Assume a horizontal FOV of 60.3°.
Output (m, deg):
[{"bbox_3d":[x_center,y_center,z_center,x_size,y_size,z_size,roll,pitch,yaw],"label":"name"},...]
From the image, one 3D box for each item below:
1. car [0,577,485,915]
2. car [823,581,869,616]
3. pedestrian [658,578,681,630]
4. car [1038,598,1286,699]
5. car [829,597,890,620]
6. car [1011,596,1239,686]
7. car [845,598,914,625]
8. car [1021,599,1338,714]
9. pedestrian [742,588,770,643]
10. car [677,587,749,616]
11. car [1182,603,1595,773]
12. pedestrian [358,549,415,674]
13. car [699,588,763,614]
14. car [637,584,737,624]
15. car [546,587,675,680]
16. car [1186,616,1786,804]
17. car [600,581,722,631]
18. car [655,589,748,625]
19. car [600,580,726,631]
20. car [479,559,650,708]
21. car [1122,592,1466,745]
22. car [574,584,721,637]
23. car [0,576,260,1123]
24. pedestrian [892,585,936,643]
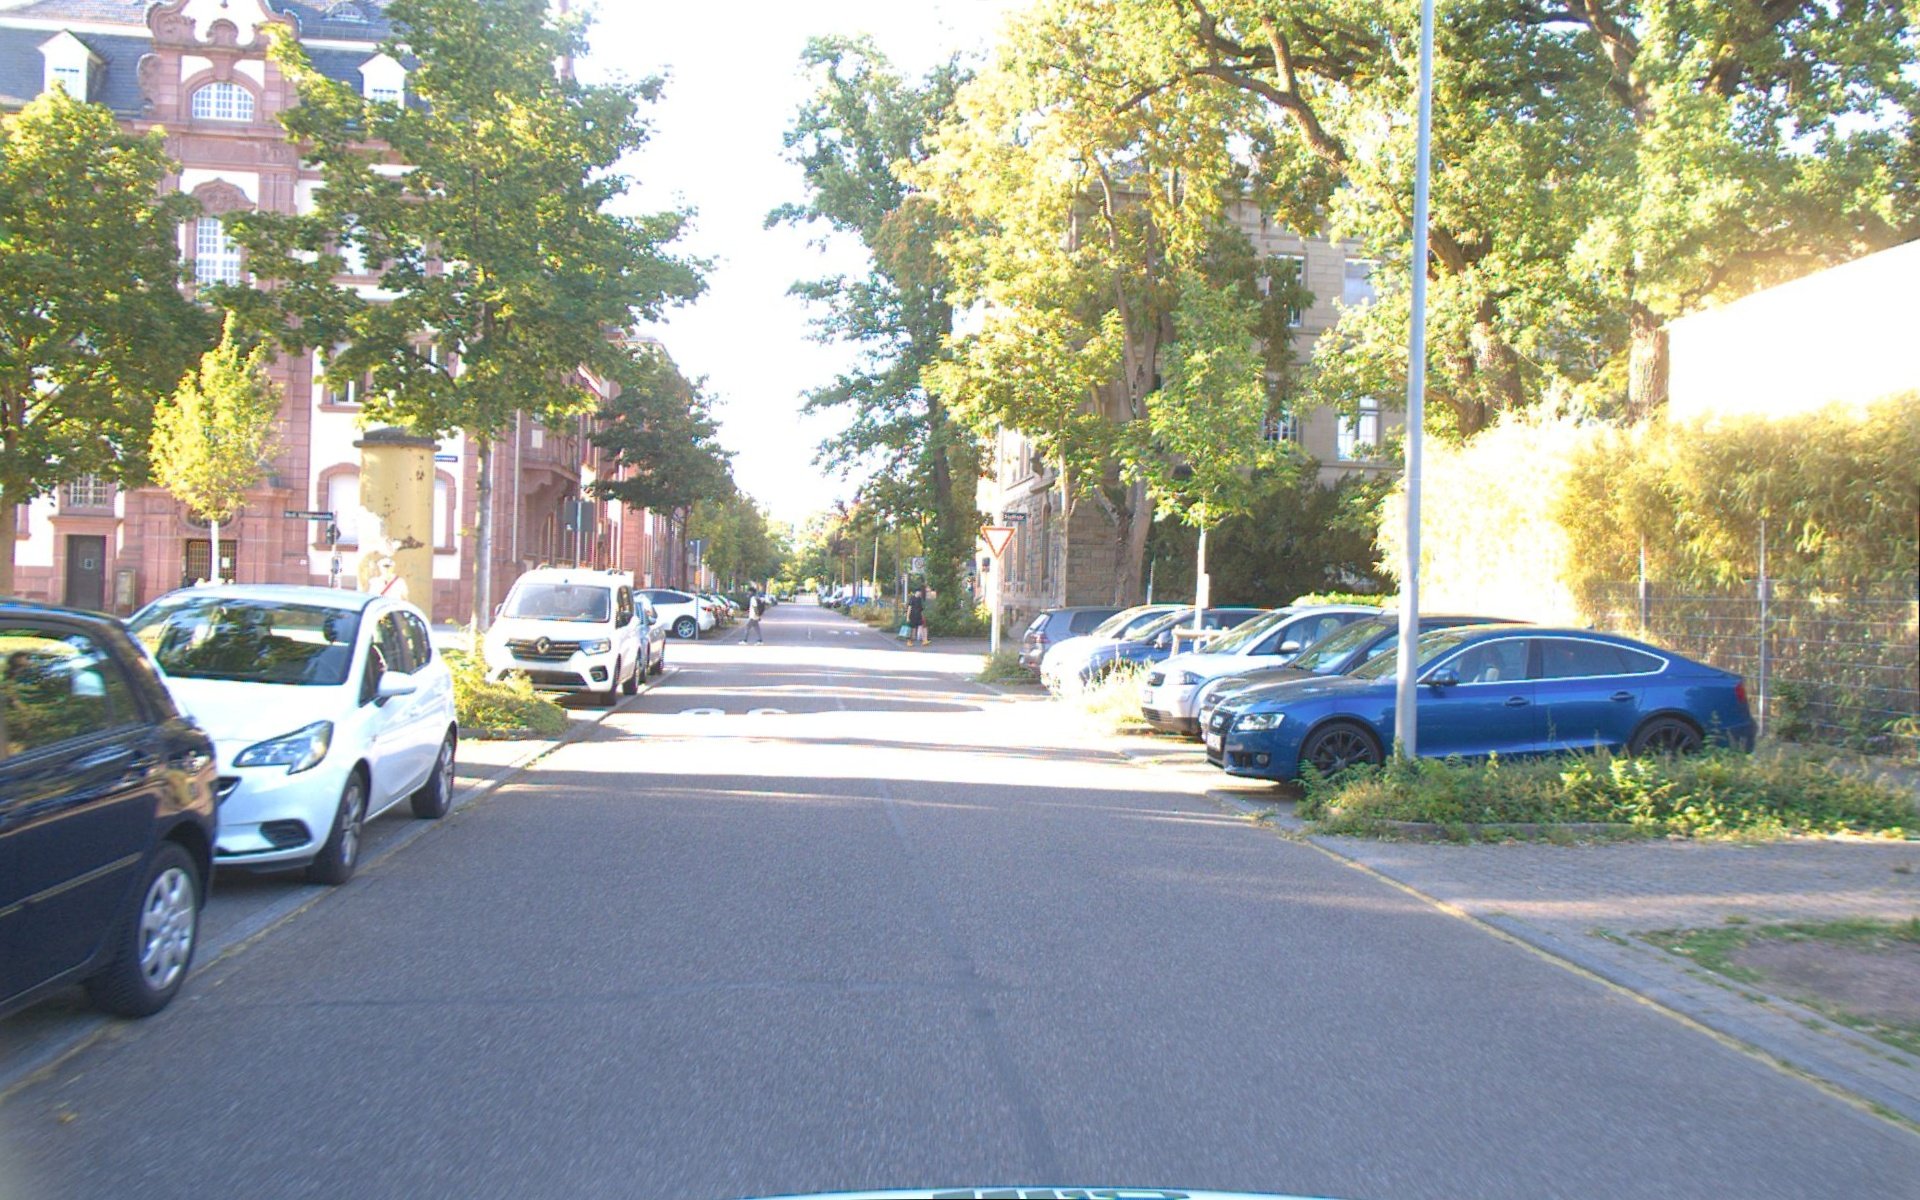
[{"bbox_3d":[-3.937,0.683,9.667,1.562,1.553,3.860,2,0,-6],"label":"car"},{"bbox_3d":[-12.569,-0.209,182.297,4.793,3.681,1.839,2,0,-7],"label":"car"},{"bbox_3d":[-11.340,0.163,64.541,0.771,1.996,0.718,2,-1,-14],"label":"pedestrian"},{"bbox_3d":[3.320,0.791,27.671,3.875,1.543,1.674,2,0,-3],"label":"car"},{"bbox_3d":[-7.726,0.659,126.485,4.497,1.636,1.839,2,0,-8],"label":"car"},{"bbox_3d":[2.967,0.767,30.219,3.876,1.543,1.872,1,-2,-5],"label":"car"},{"bbox_3d":[-5.318,0.771,109.627,4.398,1.636,1.839,2,0,-8],"label":"car"},{"bbox_3d":[3.279,0.836,25.101,4.407,1.576,1.887,2,0,-9],"label":"car"},{"bbox_3d":[-6.200,0.472,50.279,0.771,1.634,0.718,2,-1,-12],"label":"pedestrian"},{"bbox_3d":[-15.351,0.084,102.940,4.398,1.636,1.839,2,0,-8],"label":"car"},{"bbox_3d":[4.261,0.857,16.723,3.613,1.550,1.788,2,0,-9],"label":"car"},{"bbox_3d":[-8.545,0.172,24.655,0.588,1.815,0.944,2,0,-9],"label":"pedestrian"},{"bbox_3d":[-16.144,0.063,116.775,4.398,1.636,1.839,2,0,-8],"label":"car"},{"bbox_3d":[-12.461,0.185,75.610,4.398,1.636,1.839,2,0,-8],"label":"car"},{"bbox_3d":[-6.319,0.569,30.356,1.746,1.531,4.548,2,0,-5],"label":"car"},{"bbox_3d":[4.356,0.879,14.145,4.499,1.439,1.921,0,-1,-5],"label":"car"},{"bbox_3d":[-11.296,0.214,62.706,4.398,1.747,1.839,2,0,-8],"label":"car"},{"bbox_3d":[-12.696,0.347,81.468,4.398,1.636,1.839,2,0,-8],"label":"car"},{"bbox_3d":[-10.828,0.198,60.581,4.398,1.747,1.839,2,0,-8],"label":"car"},{"bbox_3d":[-5.516,0.421,23.573,1.747,1.873,4.547,2,0,-6],"label":"car"},{"bbox_3d":[3.789,0.769,18.964,3.436,1.612,1.755,2,0,-16],"label":"car"},{"bbox_3d":[-10.525,0.348,56.050,4.751,1.622,1.839,2,0,-8],"label":"car"},{"bbox_3d":[-3.413,0.680,4.390,1.520,1.520,3.941,2,0,-2],"label":"car"},{"bbox_3d":[-1.522,0.457,54.767,1.052,1.890,0.989,2,0,-37],"label":"pedestrian"}]
